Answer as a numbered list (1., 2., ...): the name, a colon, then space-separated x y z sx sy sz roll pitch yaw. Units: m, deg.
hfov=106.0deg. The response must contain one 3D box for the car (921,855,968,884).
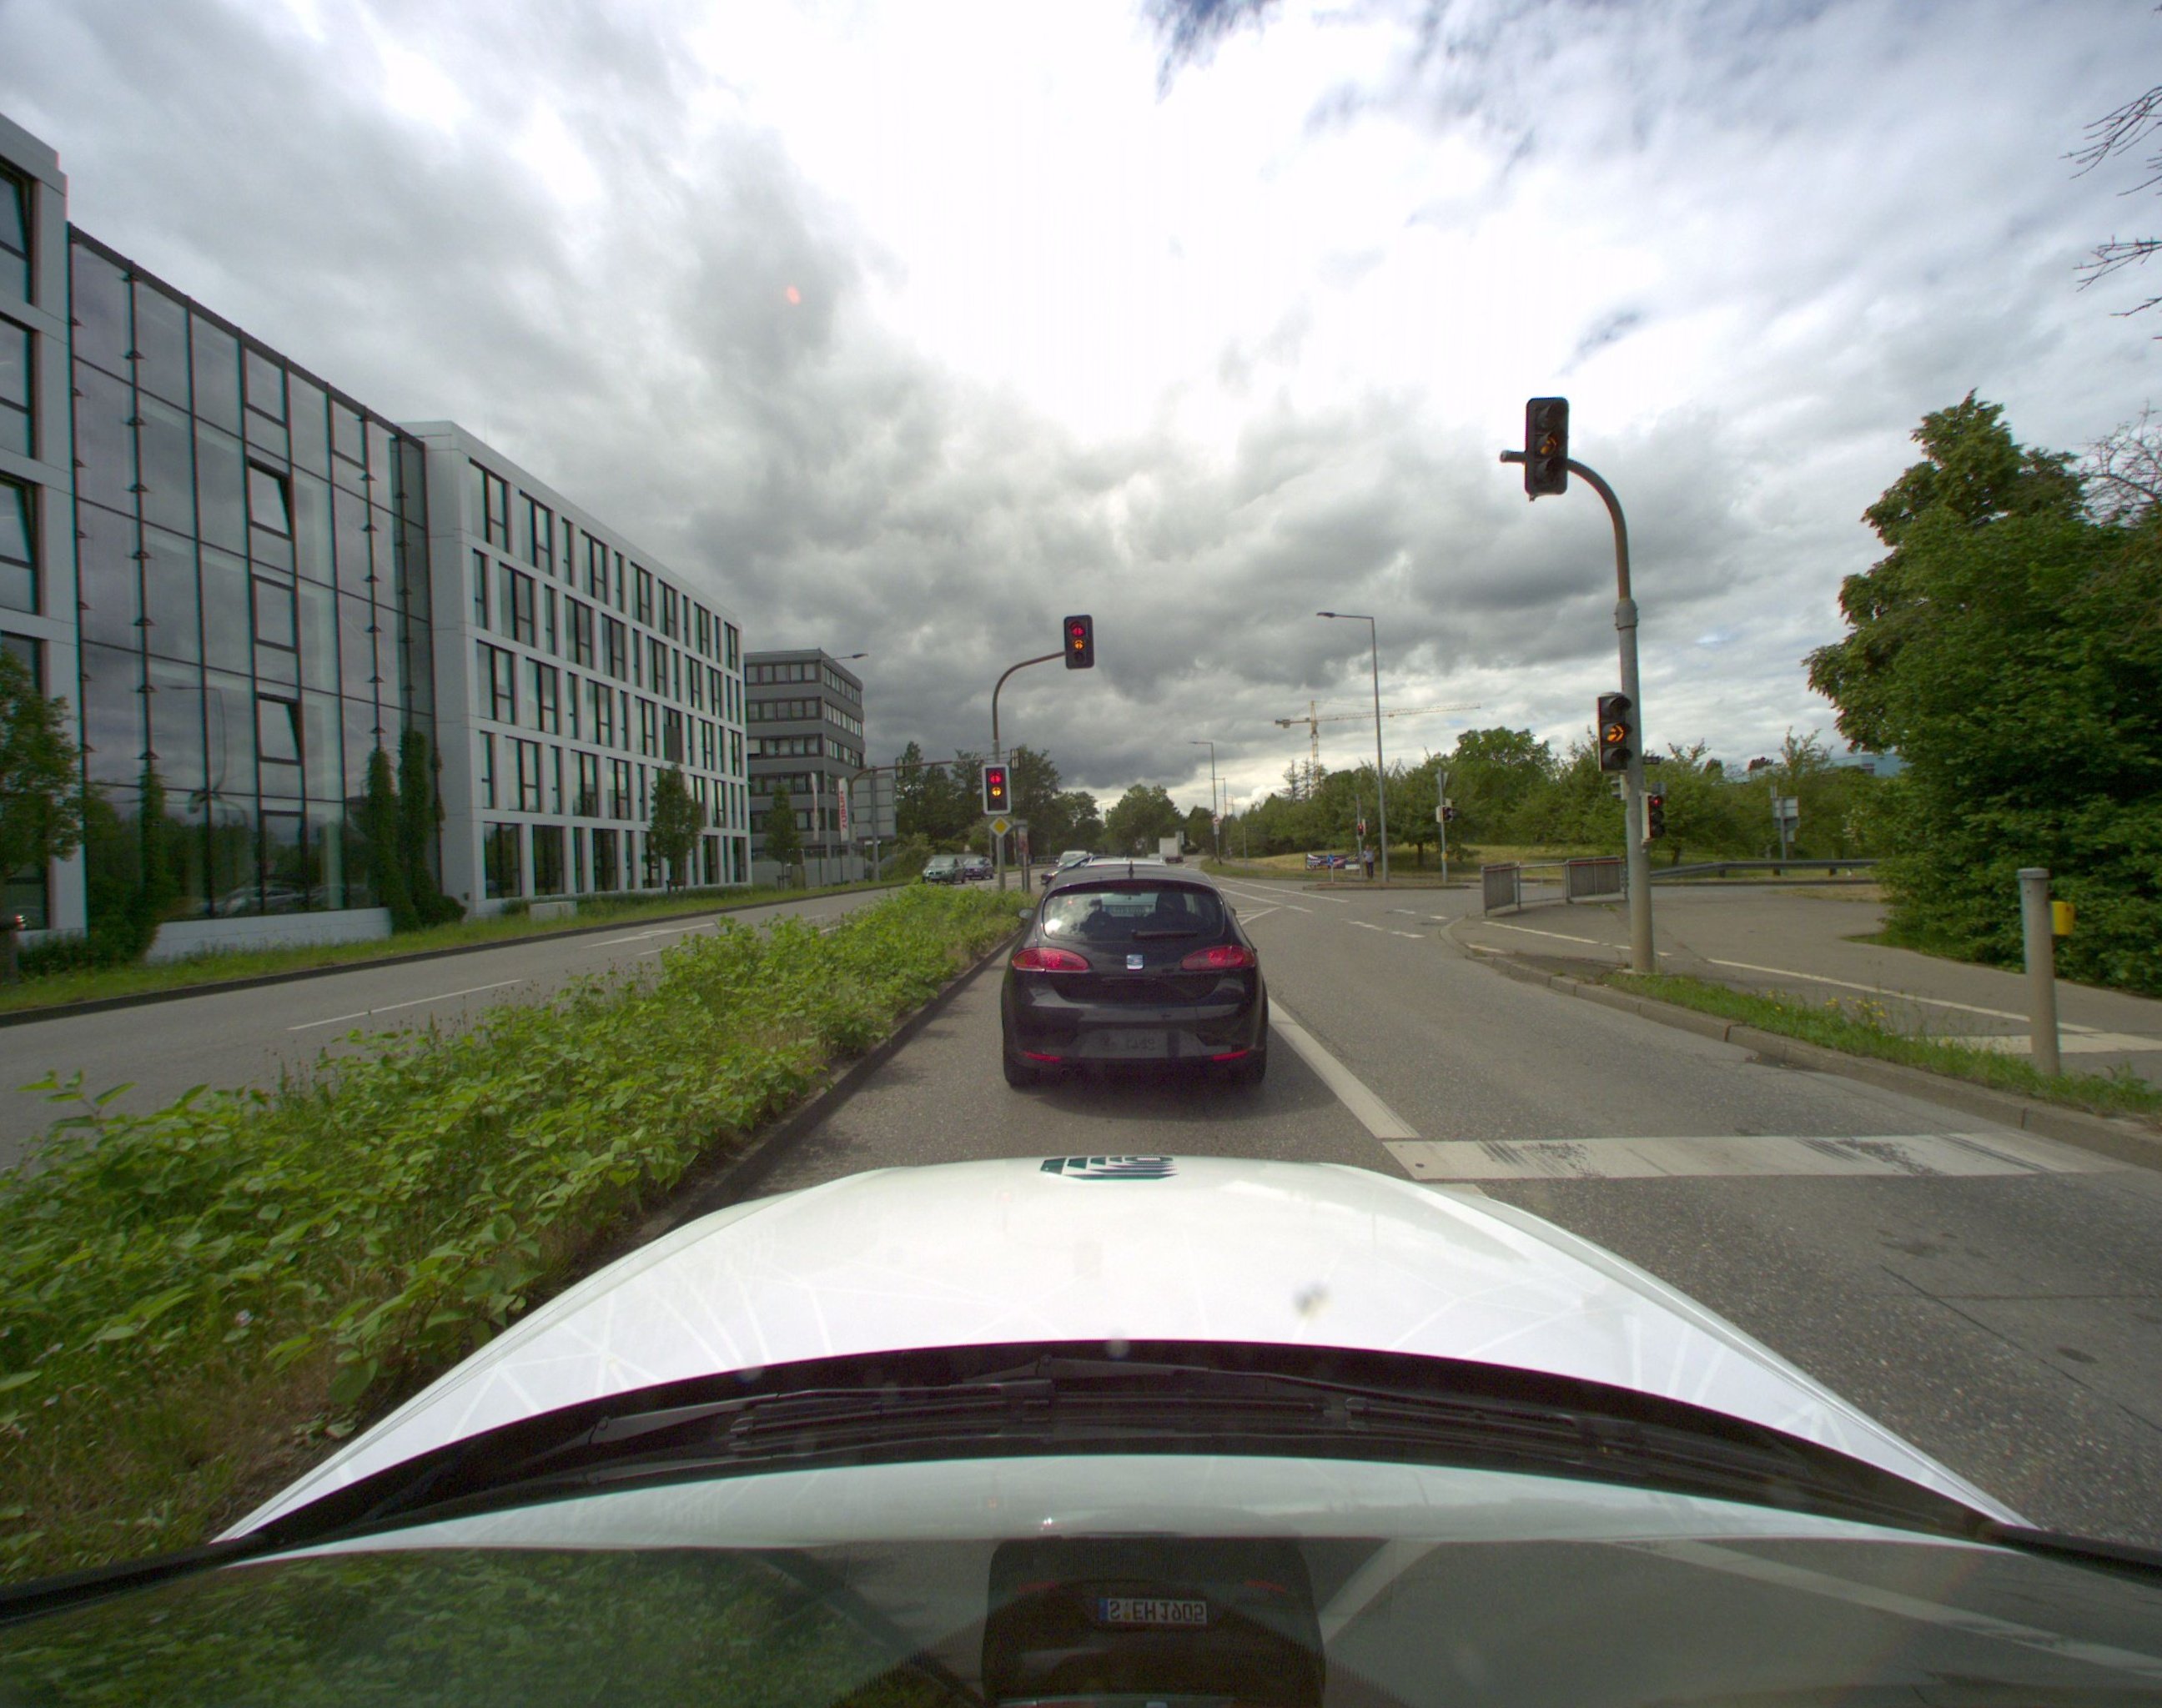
1. car: -7.307 0.809 43.829 1.598 1.432 3.757 -1 0 4

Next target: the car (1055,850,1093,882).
1. car: -0.359 0.628 46.386 1.812 1.686 4.650 0 0 4

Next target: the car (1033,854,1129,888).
1. car: 0.005 0.734 35.904 3.893 1.446 1.748 0 -1 -21

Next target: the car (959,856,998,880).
1. car: -6.393 0.838 51.207 1.546 1.419 3.902 -1 0 5

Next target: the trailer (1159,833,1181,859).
1. trailer: 11.047 -0.931 100.920 2.477 3.073 5.600 -1 -1 9

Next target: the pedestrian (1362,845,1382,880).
1. pedestrian: 15.155 0.428 42.438 0.714 1.793 1.045 0 -1 5

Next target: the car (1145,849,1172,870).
1. car: 6.219 0.426 65.367 1.984 1.565 4.478 -1 0 5

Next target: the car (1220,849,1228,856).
1. car: 34.900 -0.387 198.415 1.656 1.596 4.013 -1 -1 11

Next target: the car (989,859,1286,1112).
1. car: 0.388 0.779 6.459 1.704 1.417 3.461 -1 0 2

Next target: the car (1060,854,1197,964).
1. car: 0.740 0.752 12.794 1.827 1.467 3.754 0 0 3
